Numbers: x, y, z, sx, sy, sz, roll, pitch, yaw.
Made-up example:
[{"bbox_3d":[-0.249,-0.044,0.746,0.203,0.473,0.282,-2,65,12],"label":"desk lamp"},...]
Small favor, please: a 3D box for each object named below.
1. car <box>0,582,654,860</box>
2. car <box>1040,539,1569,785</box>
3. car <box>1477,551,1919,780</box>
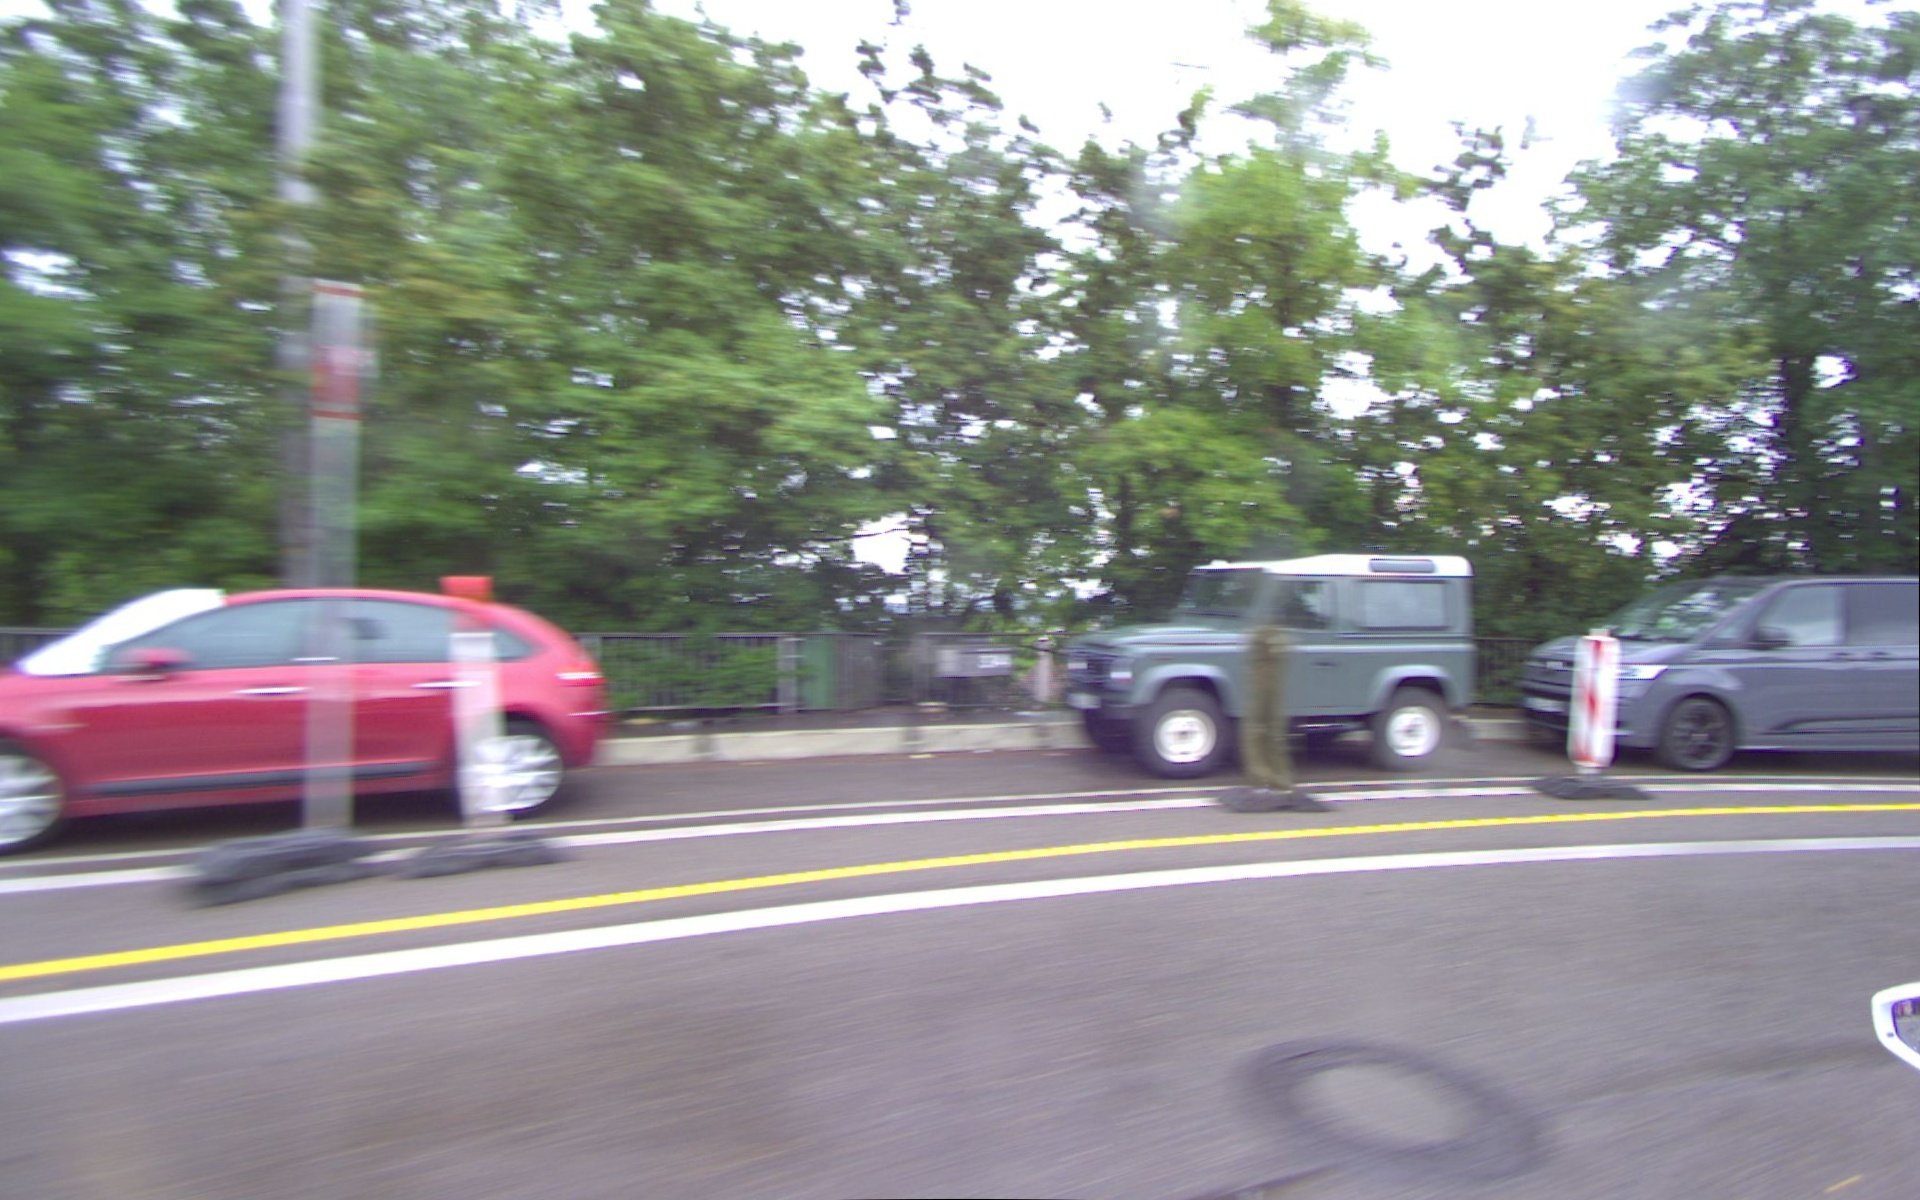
[{"bbox_3d":[-4.418,0.655,6.704,4.268,1.459,1.952,1,0,-28],"label":"car"},{"bbox_3d":[3.348,0.544,9.908,4.736,2.041,1.864,1,1,-17],"label":"car"},{"bbox_3d":[8.350,0.630,10.449,4.852,2.041,1.999,2,1,-1],"label":"car"}]
